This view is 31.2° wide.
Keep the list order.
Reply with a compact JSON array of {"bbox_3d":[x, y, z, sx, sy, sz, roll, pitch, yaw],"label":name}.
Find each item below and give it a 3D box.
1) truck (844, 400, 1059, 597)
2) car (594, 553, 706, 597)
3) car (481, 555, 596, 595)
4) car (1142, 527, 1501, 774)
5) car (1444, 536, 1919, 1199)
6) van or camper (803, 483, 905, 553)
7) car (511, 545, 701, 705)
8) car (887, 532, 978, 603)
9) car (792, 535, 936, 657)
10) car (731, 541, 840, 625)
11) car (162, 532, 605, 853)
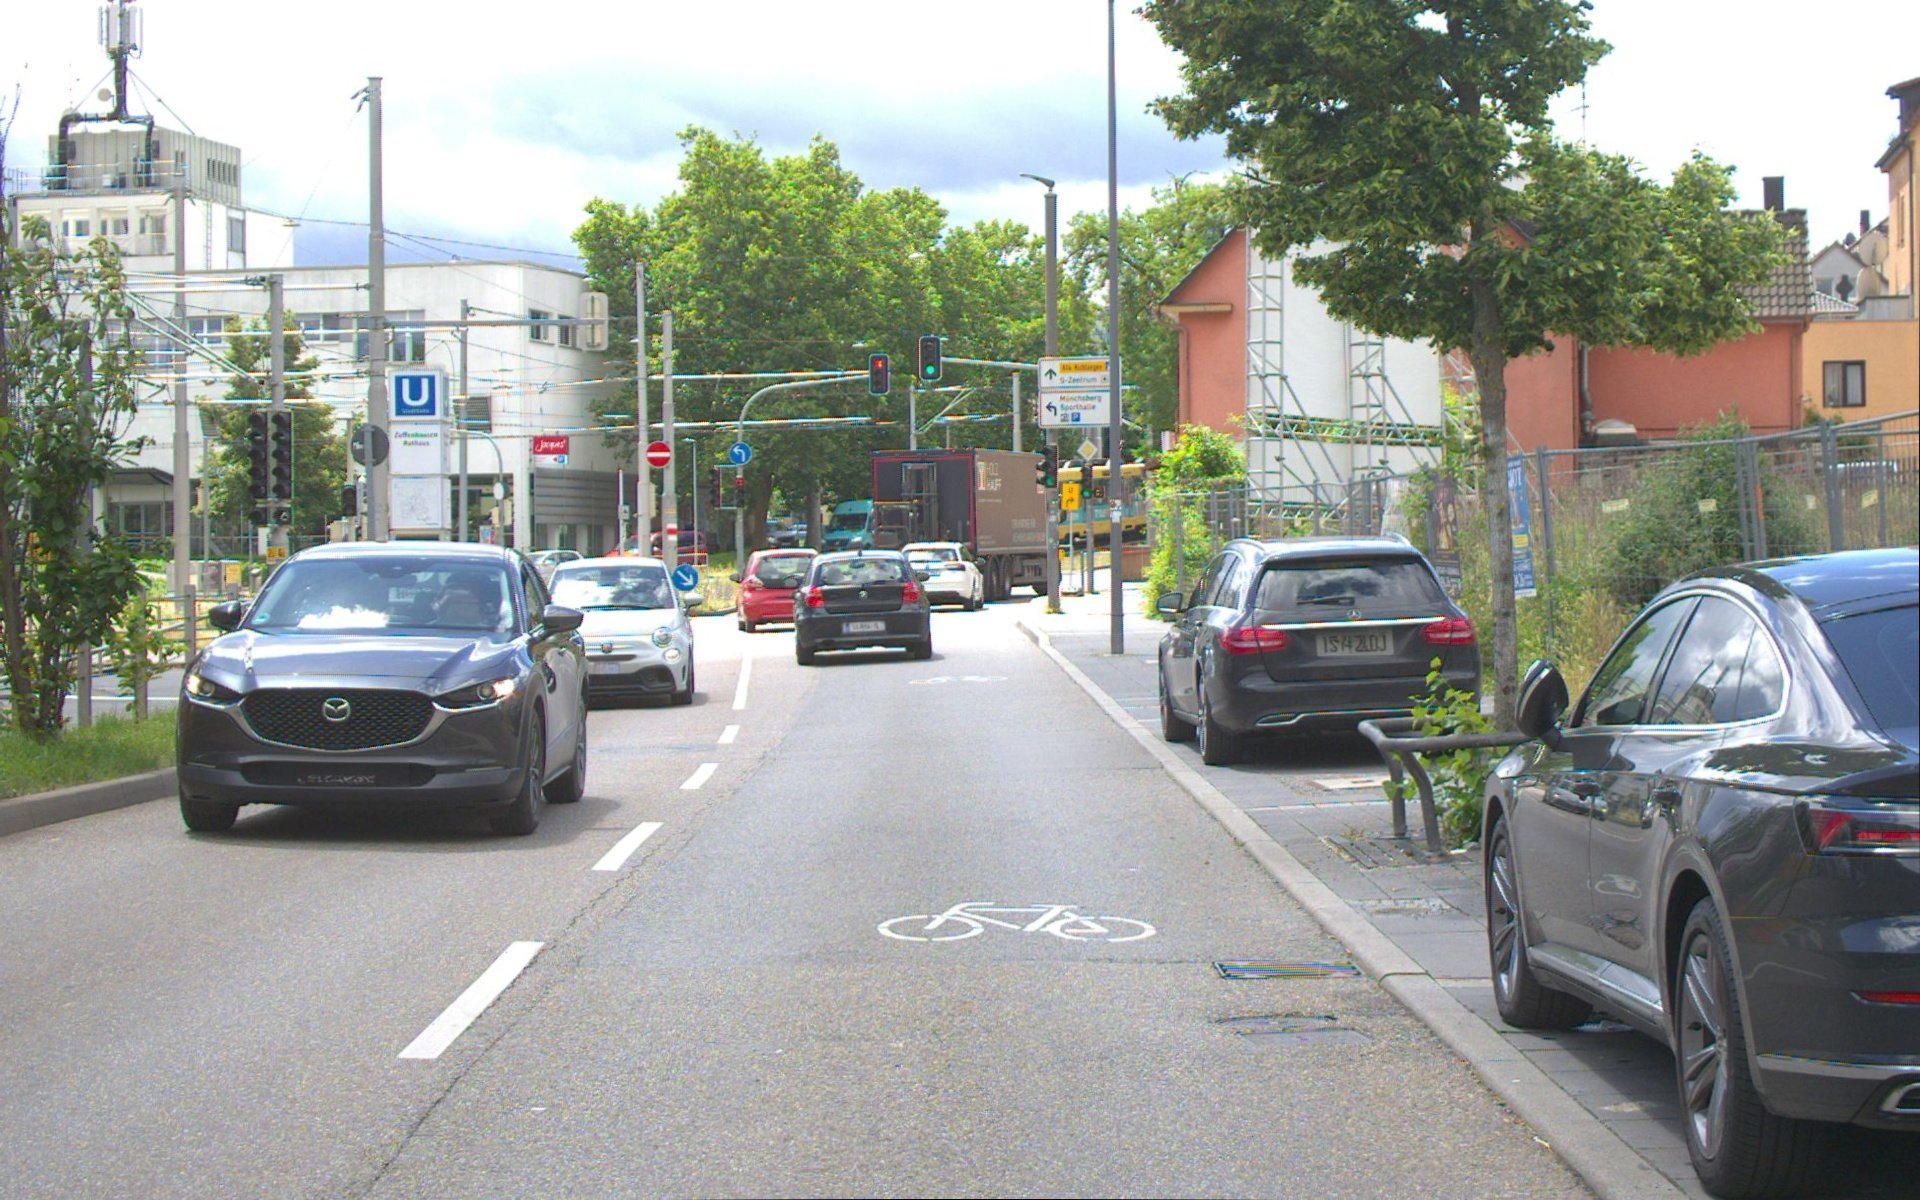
[{"bbox_3d":[-0.083,-2.390,85.025,3.205,4.520,9.022,0,0,14],"label":"truck"},{"bbox_3d":[-12.090,-0.997,134.299,1.998,1.595,4.190,0,2,39],"label":"car"},{"bbox_3d":[-15.822,-0.932,129.064,1.998,1.459,3.991,0,1,40],"label":"car"},{"bbox_3d":[2.341,0.269,23.336,1.782,1.447,4.476,-2,1,-2],"label":"car"},{"bbox_3d":[2.512,0.575,8.741,1.865,1.446,4.643,-2,1,0],"label":"car"},{"bbox_3d":[-4.559,-3.539,149.155,2.177,2.796,6.062,0,-1,21],"label":"van or camper"},{"bbox_3d":[-3.605,0.211,35.533,1.770,1.503,4.001,-1,1,-4],"label":"car"},{"bbox_3d":[-0.602,-0.695,74.489,1.888,1.460,4.069,-1,0,-1],"label":"car"},{"bbox_3d":[-1.279,-0.083,44.515,1.726,1.451,3.809,-1,1,-3],"label":"car"},{"bbox_3d":[-3.147,-0.334,61.397,1.711,1.388,3.809,-1,1,-6],"label":"car"},{"bbox_3d":[-3.024,0.423,18.862,1.724,1.516,4.255,2,1,-1],"label":"car"}]
